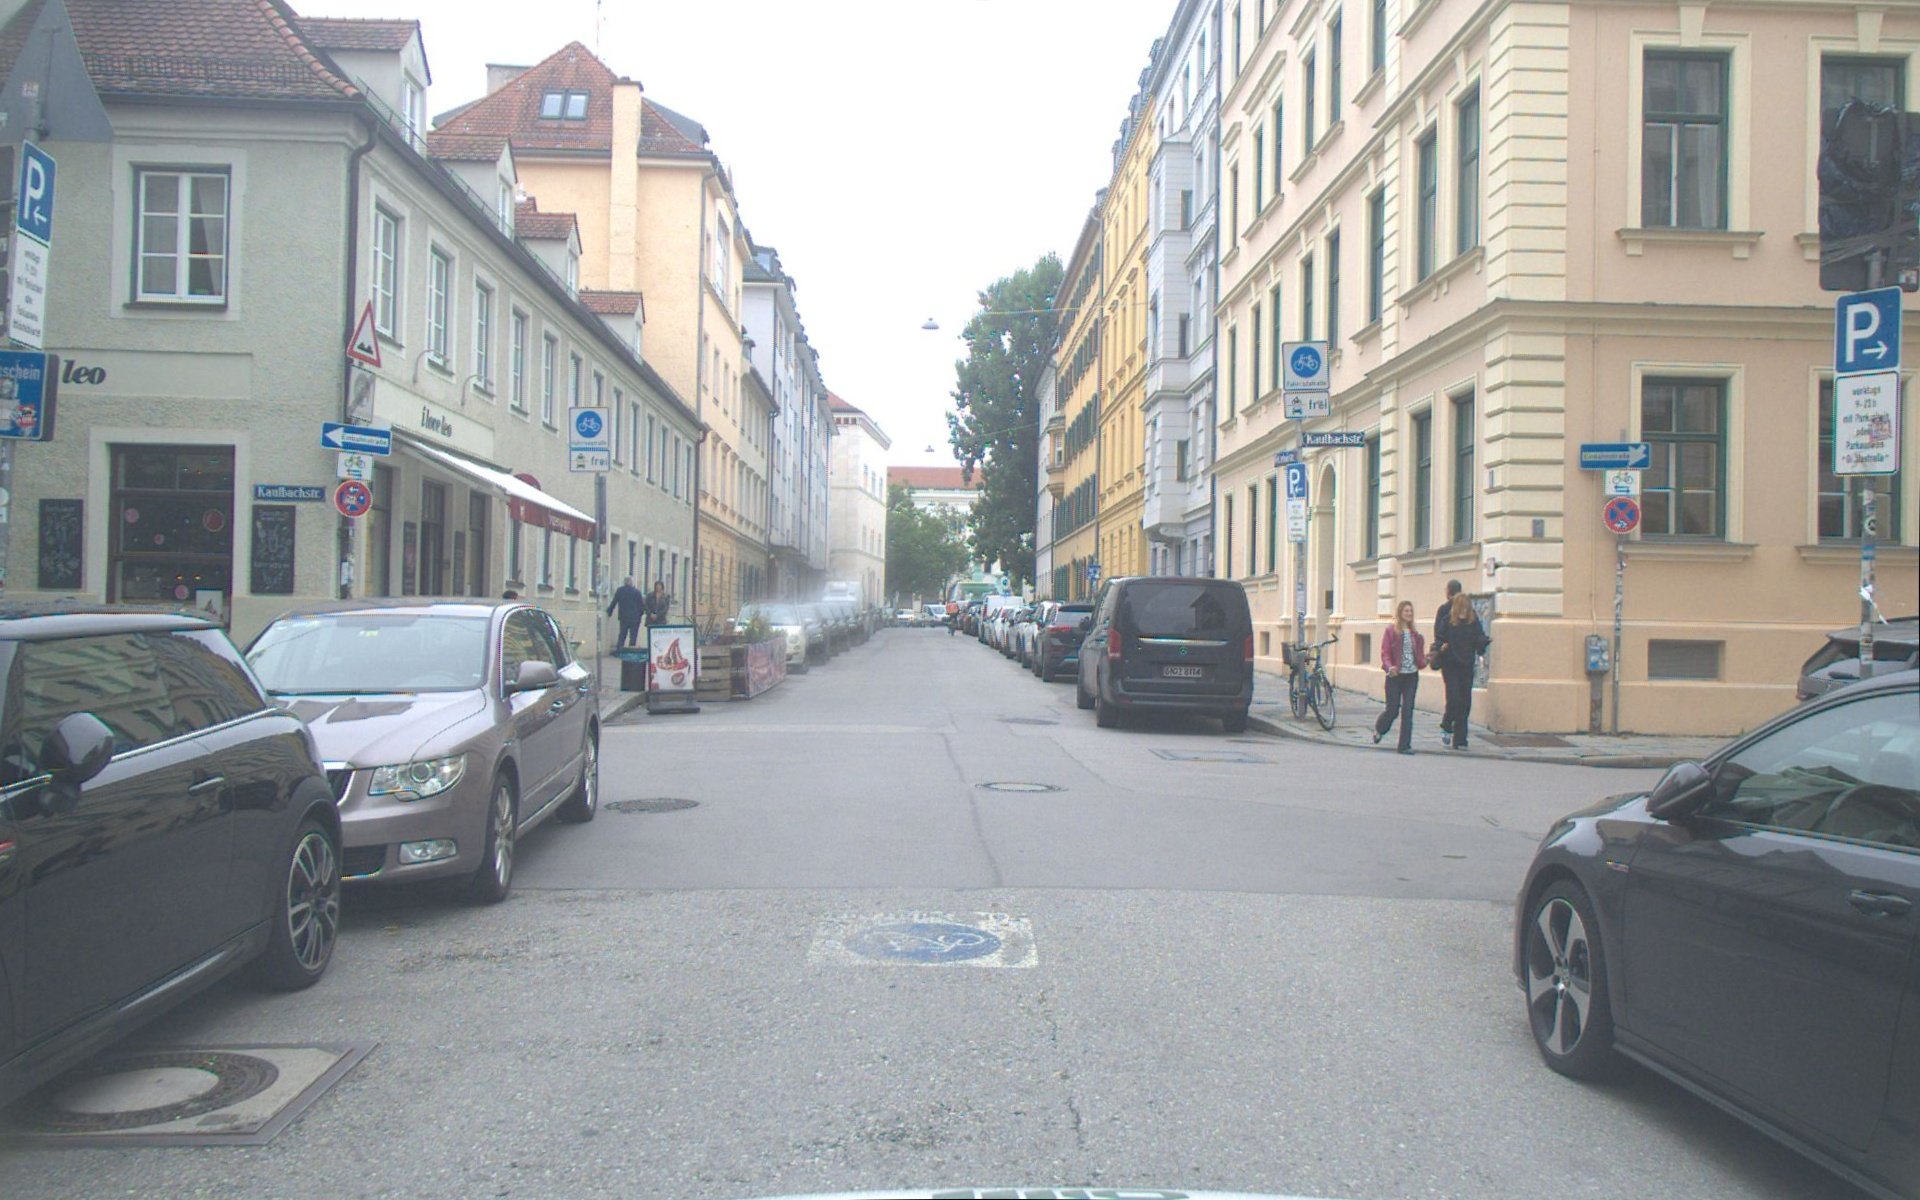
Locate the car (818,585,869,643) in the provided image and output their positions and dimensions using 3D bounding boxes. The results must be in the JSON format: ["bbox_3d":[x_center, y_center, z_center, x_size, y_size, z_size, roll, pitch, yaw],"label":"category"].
[{"bbox_3d":[-4.363,0.516,61.479,1.720,2.030,4.620,2,-1,-5],"label":"car"}]

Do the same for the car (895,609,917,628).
[{"bbox_3d":[-4.673,1.562,143.052,1.671,1.609,3.863,0,-1,1],"label":"car"}]

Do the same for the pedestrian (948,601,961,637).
[{"bbox_3d":[-0.261,0.915,80.299,0.629,1.744,0.842,1,-2,-1],"label":"pedestrian"}]

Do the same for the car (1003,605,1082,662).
[{"bbox_3d":[2.217,0.894,45.454,1.674,1.429,4.204,2,-1,-4],"label":"car"}]

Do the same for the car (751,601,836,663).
[{"bbox_3d":[-4.013,0.733,40.452,1.762,1.363,4.683,2,0,-2],"label":"car"}]

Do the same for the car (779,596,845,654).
[{"bbox_3d":[-4.099,0.683,46.349,1.720,1.522,4.197,2,-1,-4],"label":"car"}]

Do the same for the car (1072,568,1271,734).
[{"bbox_3d":[2.687,0.614,22.246,1.957,1.897,5.252,2,0,0],"label":"car"}]

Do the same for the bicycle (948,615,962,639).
[{"bbox_3d":[-0.259,1.318,80.250,0.662,1.114,1.759,1,-2,-1],"label":"bicycle"}]

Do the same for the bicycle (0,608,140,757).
[{"bbox_3d":[-7.273,0.601,12.632,1.781,1.053,0.392,3,0,1],"label":"bicycle"}]

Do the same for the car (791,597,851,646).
[{"bbox_3d":[-4.319,0.652,51.539,1.781,1.467,4.127,0,0,-5],"label":"car"}]

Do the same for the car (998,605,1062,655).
[{"bbox_3d":[2.123,0.915,51.365,1.673,1.433,4.813,2,-1,-1],"label":"car"}]

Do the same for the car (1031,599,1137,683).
[{"bbox_3d":[2.454,0.791,33.523,1.719,1.548,4.273,2,-1,-1],"label":"car"}]

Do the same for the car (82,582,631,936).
[{"bbox_3d":[-3.056,0.675,9.528,1.646,1.497,4.946,0,0,-4],"label":"car"}]

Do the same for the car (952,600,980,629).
[{"bbox_3d":[0.420,1.008,113.904,1.814,1.953,4.768,1,-1,-1],"label":"car"}]

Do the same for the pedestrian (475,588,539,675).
[{"bbox_3d":[-6.985,0.484,25.529,0.787,1.312,0.693,1,-2,-1],"label":"pedestrian"}]

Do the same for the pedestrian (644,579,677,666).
[{"bbox_3d":[-6.338,0.479,34.996,0.518,1.813,0.877,1,-2,-1],"label":"pedestrian"}]

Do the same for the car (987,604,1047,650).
[{"bbox_3d":[1.952,0.922,57.576,1.674,1.480,4.093,2,-1,-3],"label":"car"}]

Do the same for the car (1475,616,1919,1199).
[{"bbox_3d":[2.929,0.851,4.201,1.642,1.449,4.201,4,0,-4],"label":"car"}]

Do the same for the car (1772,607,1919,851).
[{"bbox_3d":[8.525,0.925,12.401,4.007,1.633,1.754,1,1,-3],"label":"car"}]

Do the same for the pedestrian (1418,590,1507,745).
[{"bbox_3d":[5.499,0.733,18.153,0.645,1.649,0.979,1,-2,-2],"label":"pedestrian"}]

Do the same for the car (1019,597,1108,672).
[{"bbox_3d":[2.398,0.786,39.096,1.708,1.611,4.465,2,-1,-1],"label":"car"}]

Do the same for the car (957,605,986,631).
[{"bbox_3d":[0.711,1.175,108.033,1.775,1.642,4.155,1,-1,-1],"label":"car"}]

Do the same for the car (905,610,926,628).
[{"bbox_3d":[-3.980,1.747,149.312,1.671,1.609,3.863,0,-1,1],"label":"car"}]

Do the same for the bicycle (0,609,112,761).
[{"bbox_3d":[-7.281,0.589,12.228,1.781,1.053,0.392,3,0,1],"label":"bicycle"}]

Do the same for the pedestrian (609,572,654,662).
[{"bbox_3d":[-7.189,0.378,36.248,0.806,1.931,0.827,1,-2,-3],"label":"pedestrian"}]

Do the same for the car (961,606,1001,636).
[{"bbox_3d":[1.090,1.091,87.126,1.776,1.449,4.244,2,-1,-3],"label":"car"}]

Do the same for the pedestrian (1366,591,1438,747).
[{"bbox_3d":[4.841,0.748,18.138,0.462,1.653,1.069,1,-2,-2],"label":"pedestrian"}]

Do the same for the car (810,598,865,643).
[{"bbox_3d":[-4.173,0.695,56.617,1.719,1.433,4.101,2,-1,-3],"label":"car"}]

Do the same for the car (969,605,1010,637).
[{"bbox_3d":[1.440,1.028,81.854,1.775,1.490,4.245,2,-1,-2],"label":"car"}]

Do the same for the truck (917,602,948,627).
[{"bbox_3d":[-2.643,1.384,158.526,2.081,2.287,6.172,1,-1,-9],"label":"truck"}]

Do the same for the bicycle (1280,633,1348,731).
[{"bbox_3d":[4.374,0.991,20.537,0.456,1.071,1.729,-1,2,-1],"label":"bicycle"}]

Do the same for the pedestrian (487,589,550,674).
[{"bbox_3d":[-7.004,0.508,26.265,0.787,1.313,0.693,1,-2,-1],"label":"pedestrian"}]

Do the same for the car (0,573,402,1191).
[{"bbox_3d":[-3.152,0.682,4.888,1.645,1.497,4.097,0,0,-1],"label":"car"}]

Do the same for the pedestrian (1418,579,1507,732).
[{"bbox_3d":[5.922,0.646,19.520,0.704,1.747,1.003,1,-2,-3],"label":"pedestrian"}]

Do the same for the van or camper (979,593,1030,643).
[{"bbox_3d":[1.785,0.718,67.337,1.796,1.904,5.077,2,0,-1],"label":"van or camper"}]

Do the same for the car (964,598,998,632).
[{"bbox_3d":[1.158,0.841,94.134,1.775,1.829,4.245,2,-1,-1],"label":"car"}]

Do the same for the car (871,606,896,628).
[{"bbox_3d":[-5.928,1.311,128.489,1.671,1.638,3.863,0,-1,1],"label":"car"}]

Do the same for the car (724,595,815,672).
[{"bbox_3d":[-4.016,0.682,35.298,1.720,1.501,3.710,2,0,-4],"label":"car"}]

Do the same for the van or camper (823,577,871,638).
[{"bbox_3d":[-4.536,0.333,66.955,1.719,2.321,5.270,2,-1,-2],"label":"van or camper"}]
